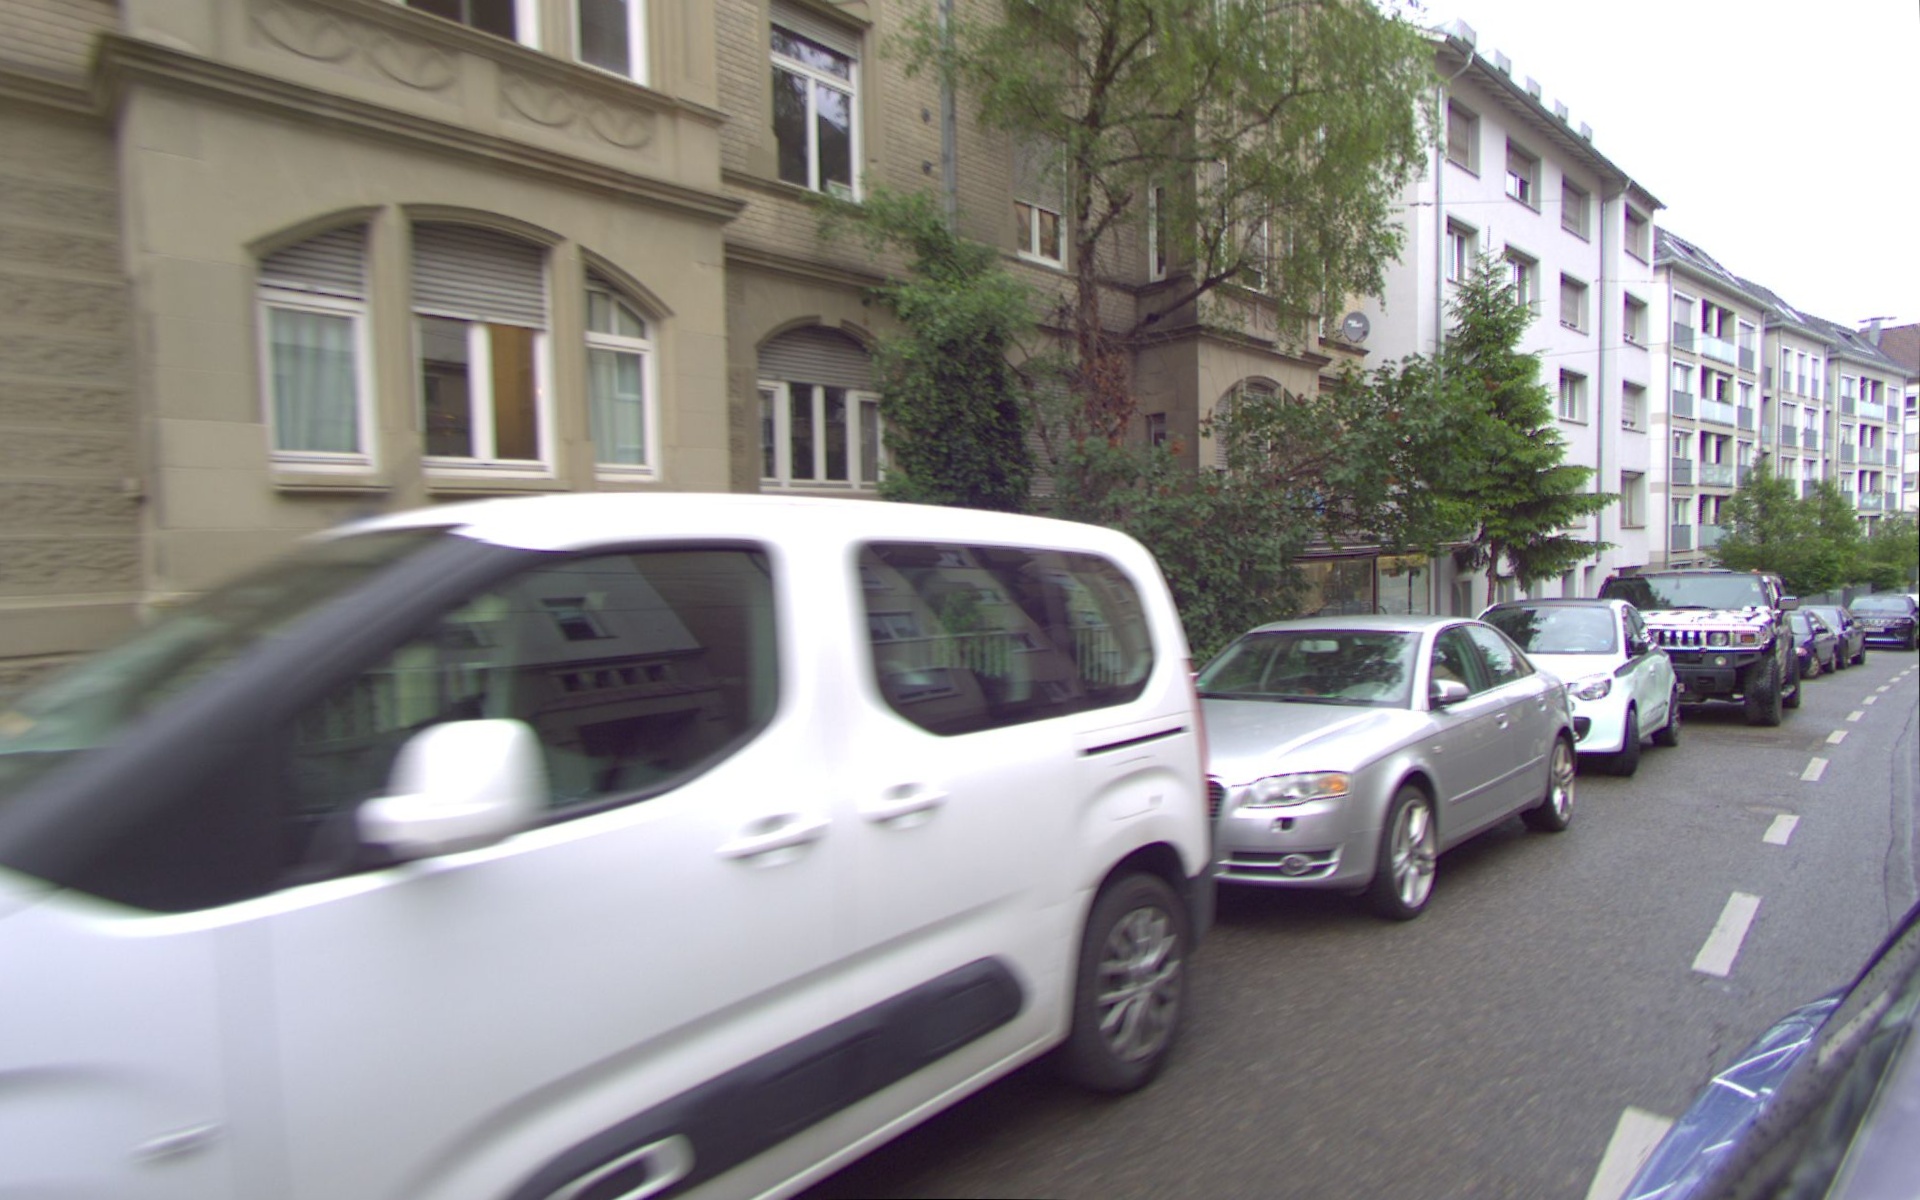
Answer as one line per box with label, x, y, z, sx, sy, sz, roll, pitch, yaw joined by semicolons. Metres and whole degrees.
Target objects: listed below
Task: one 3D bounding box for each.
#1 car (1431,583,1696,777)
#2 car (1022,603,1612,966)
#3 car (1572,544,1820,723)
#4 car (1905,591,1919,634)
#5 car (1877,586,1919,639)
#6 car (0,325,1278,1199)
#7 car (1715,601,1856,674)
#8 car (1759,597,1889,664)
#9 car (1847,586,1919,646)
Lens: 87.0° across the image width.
car;6.073;0.651;10.017;1.559;1.566;3.529;-1;-1;42
car;2.486;0.758;6.269;1.749;1.418;4.406;-1;-1;44
car;10.437;0.380;14.159;2.128;2.039;5.266;-1;-1;43
car;39.413;0.484;40.452;4.603;1.677;1.836;-1;1;-40
car;34.775;0.439;36.687;4.393;1.817;1.781;0;1;-41
car;-0.988;0.571;2.695;1.796;1.788;4.394;-1;-1;43
car;17.228;0.721;21.061;3.815;1.355;1.681;0;0;-41
car;20.850;0.658;24.360;4.531;1.455;1.797;0;0;-42
car;30.670;0.475;33.109;4.739;1.818;1.945;-1;1;-42
